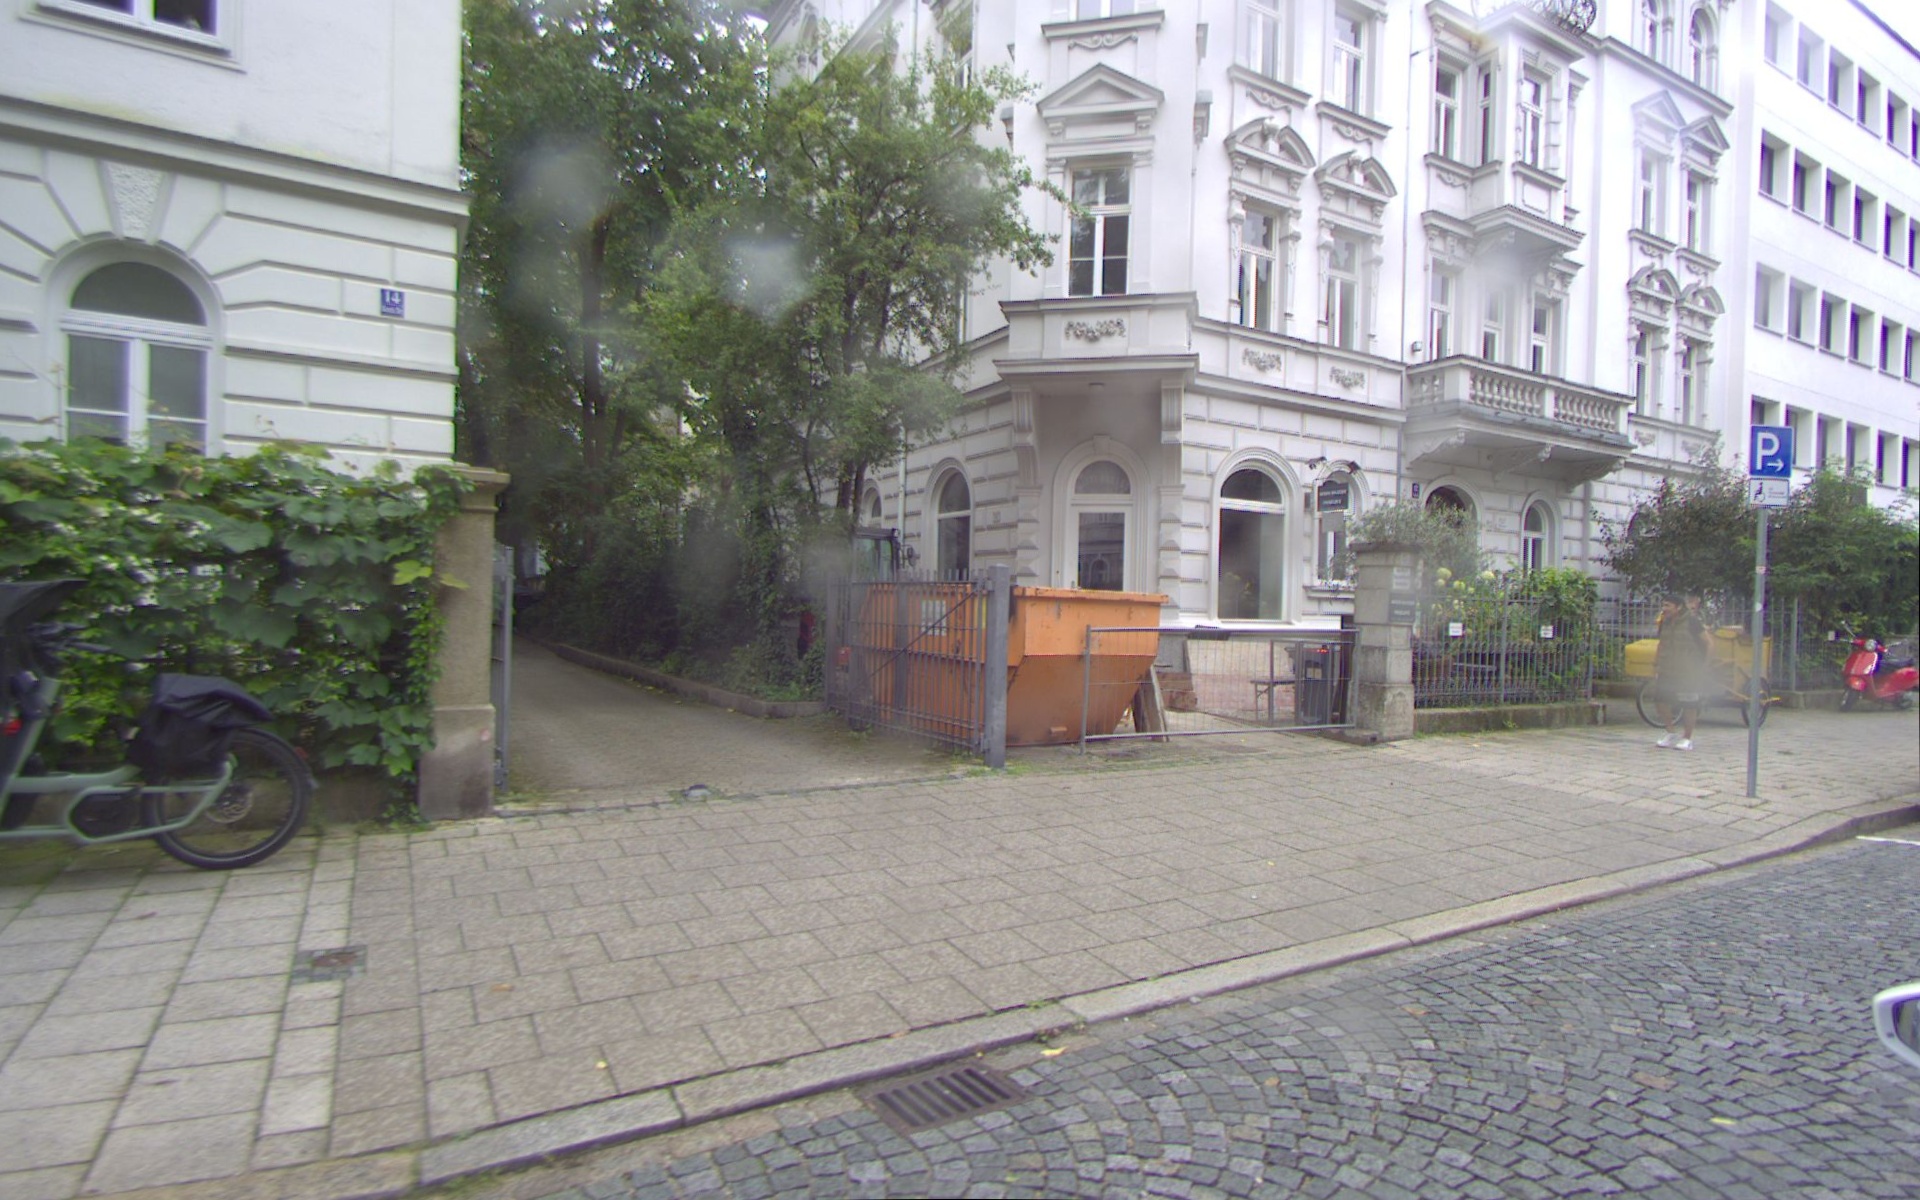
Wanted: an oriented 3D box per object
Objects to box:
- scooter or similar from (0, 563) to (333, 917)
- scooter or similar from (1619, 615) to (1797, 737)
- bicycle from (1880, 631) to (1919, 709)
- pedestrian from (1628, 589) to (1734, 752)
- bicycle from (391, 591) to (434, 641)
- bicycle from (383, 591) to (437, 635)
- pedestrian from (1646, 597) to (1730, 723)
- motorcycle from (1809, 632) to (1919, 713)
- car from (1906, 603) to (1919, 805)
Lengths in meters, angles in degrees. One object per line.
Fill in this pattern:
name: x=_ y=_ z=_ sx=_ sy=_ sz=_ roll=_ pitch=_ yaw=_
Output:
scooter or similar: x=-4.357 y=0.568 z=4.466 sx=2.627 sy=1.461 sz=0.936 roll=1 pitch=2 yaw=-32
scooter or similar: x=9.920 y=0.953 z=13.295 sx=2.625 sy=1.461 sz=0.936 roll=1 pitch=0 yaw=-31
bicycle: x=16.281 y=1.178 z=17.224 sx=0.648 sy=1.237 sz=2.079 roll=1 pitch=0 yaw=41
pedestrian: x=7.901 y=0.745 z=11.010 sx=0.711 sy=1.710 sz=0.689 roll=1 pitch=0 yaw=-31
bicycle: x=-14.429 y=0.389 z=26.455 sx=0.926 sy=1.221 sz=2.926 roll=1 pitch=0 yaw=-29
bicycle: x=-16.112 y=0.364 z=29.404 sx=0.929 sy=1.221 sz=2.464 roll=1 pitch=0 yaw=-39
pedestrian: x=10.249 y=0.823 z=14.151 sx=0.687 sy=1.710 sz=0.714 roll=1 pitch=0 yaw=-31
motorcycle: x=14.494 y=1.146 z=16.040 sx=1.837 sy=1.212 sz=0.621 roll=1 pitch=1 yaw=-22
car: x=9.811 y=0.827 z=8.343 sx=4.209 sy=1.600 sz=1.863 roll=1 pitch=-3 yaw=-33
